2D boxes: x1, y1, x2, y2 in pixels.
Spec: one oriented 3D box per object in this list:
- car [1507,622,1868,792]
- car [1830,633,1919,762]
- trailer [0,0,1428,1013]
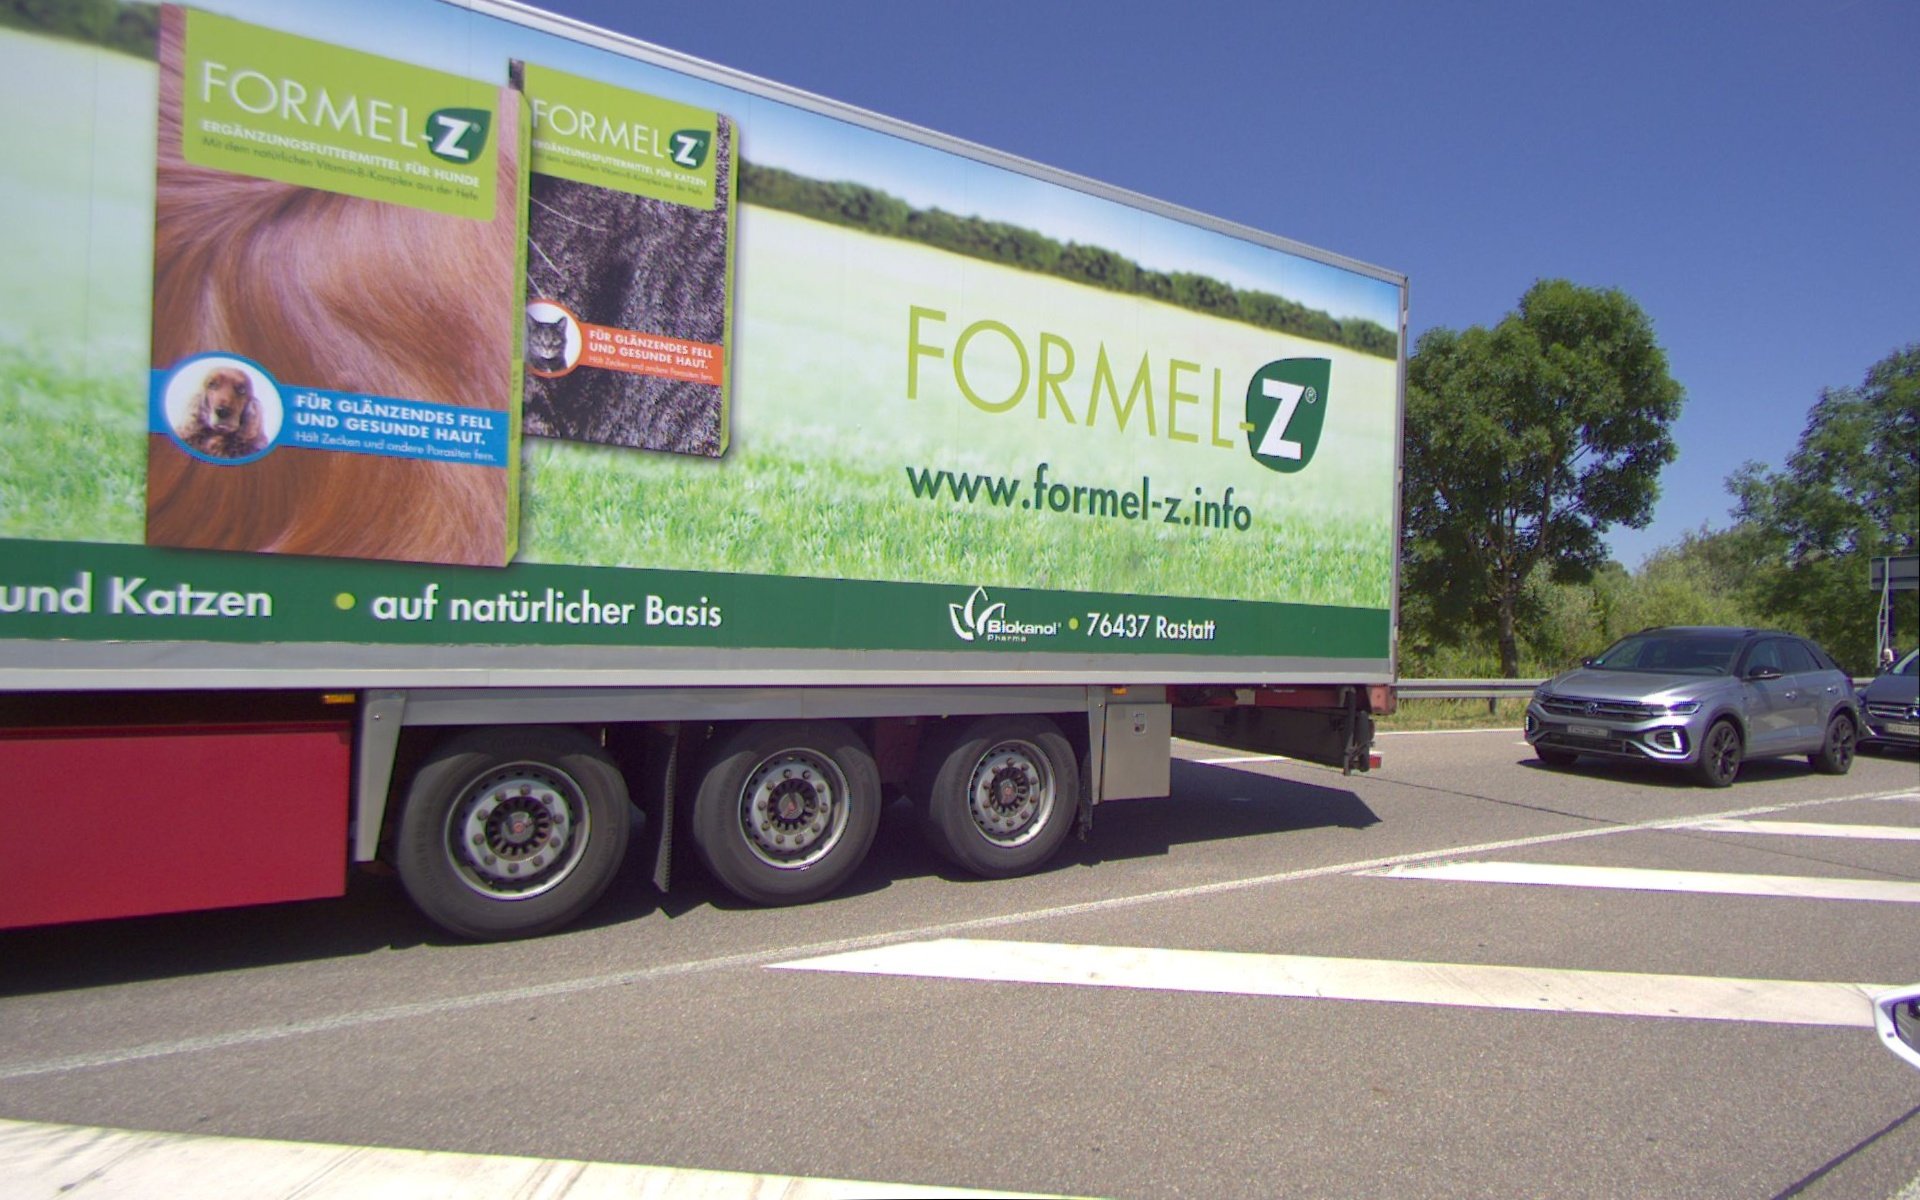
[{"bbox_3d":[8.137,1.073,11.164,4.104,1.582,1.704,2,-1,-29],"label":"car"},{"bbox_3d":[13.518,1.237,13.218,4.327,1.558,1.618,1,-2,-27],"label":"car"},{"bbox_3d":[-3.367,-0.641,4.861,13.958,4.098,2.677,2,-1,-30],"label":"trailer"}]
